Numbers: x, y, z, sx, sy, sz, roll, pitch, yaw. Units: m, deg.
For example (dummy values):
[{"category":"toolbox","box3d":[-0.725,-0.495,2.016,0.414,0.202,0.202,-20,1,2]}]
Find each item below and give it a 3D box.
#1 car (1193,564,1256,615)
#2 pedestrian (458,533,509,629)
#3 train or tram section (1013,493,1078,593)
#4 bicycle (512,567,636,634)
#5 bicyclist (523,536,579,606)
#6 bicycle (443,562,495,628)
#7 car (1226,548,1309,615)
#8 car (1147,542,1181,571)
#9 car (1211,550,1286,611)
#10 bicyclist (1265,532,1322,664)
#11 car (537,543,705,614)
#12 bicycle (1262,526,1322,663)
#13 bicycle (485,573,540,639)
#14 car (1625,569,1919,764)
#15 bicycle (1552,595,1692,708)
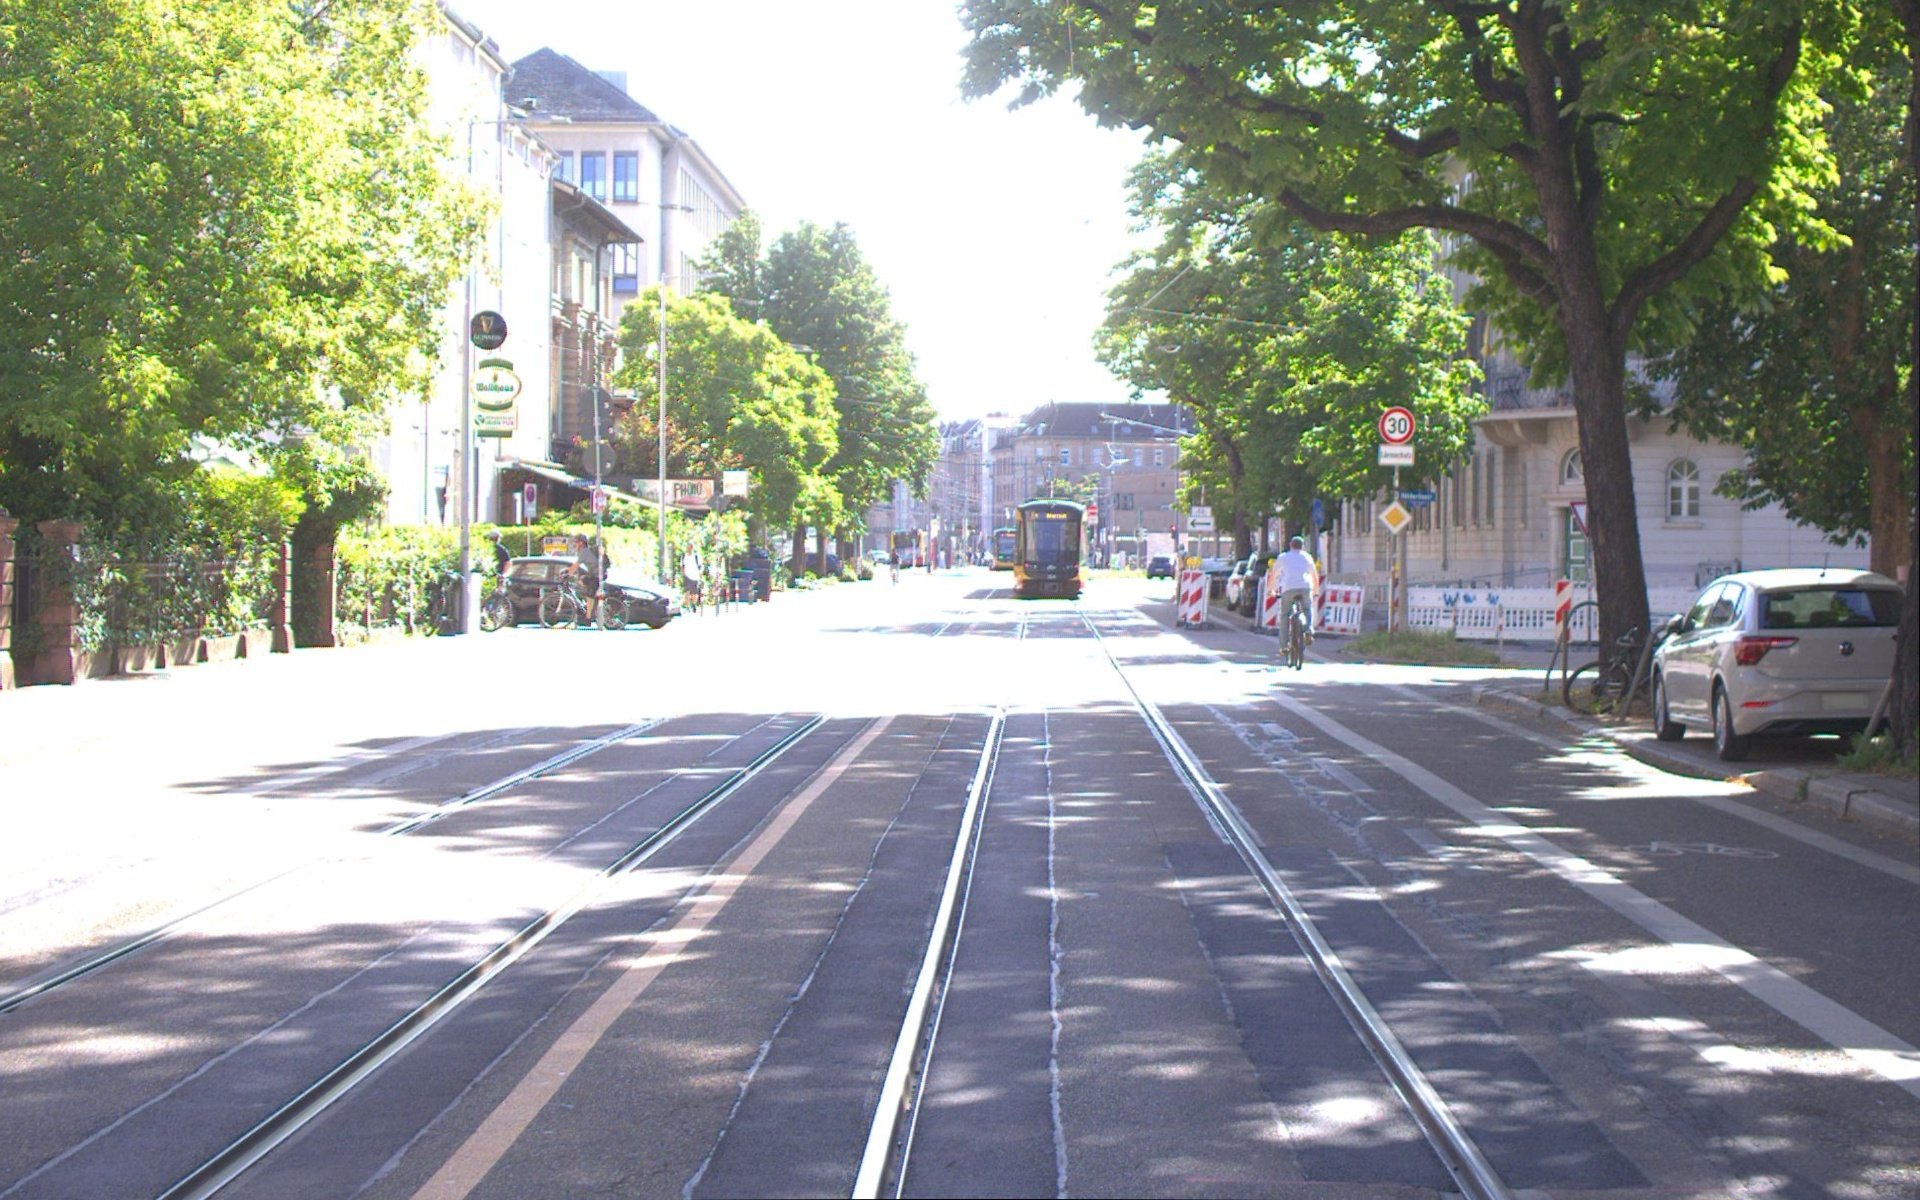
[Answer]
[{"category":"car","box3d":[8.502,-0.343,110.651,1.754,1.546,3.677,2,1,1]},{"category":"pedestrian","box3d":[-8.585,-0.347,61.968,0.770,1.706,0.669,2,1,2]},{"category":"train or tram section","box3d":[3.022,-2.031,122.299,2.153,3.420,6.611,2,1,1]},{"category":"bicycle","box3d":[-7.214,-0.003,64.257,2.141,1.167,0.802,2,1,17]},{"category":"bicyclist","box3d":[-7.656,-0.541,64.382,0.773,1.287,0.732,2,1,18]},{"category":"bicycle","box3d":[-8.394,-0.090,58.714,0.632,1.065,1.832,2,1,-15]},{"category":"car","box3d":[7.616,-0.481,85.506,1.754,1.546,3.677,2,1,1]},{"category":"car","box3d":[12.357,-2.665,208.537,1.872,1.657,3.515,2,1,1]},{"category":"car","box3d":[7.878,-0.552,94.118,1.754,1.546,3.677,2,1,1]},{"category":"bicyclist","box3d":[4.611,-0.031,47.559,0.645,1.789,0.956,2,1,1]},{"category":"car","box3d":[-7.032,-0.433,71.020,1.754,1.415,3.579,1,-1,-39]},{"category":"bicycle","box3d":[4.649,-0.089,48.232,0.663,1.853,2.259,2,1,3]},{"category":"bicycle","box3d":[-7.781,0.097,59.707,0.632,1.065,1.832,2,1,-16]},{"category":"car","box3d":[6.589,0.479,27.664,1.748,1.415,4.000,0,1,1]},{"category":"bicycle","box3d":[6.386,0.494,33.214,1.270,1.020,0.704,2,0,9]}]
